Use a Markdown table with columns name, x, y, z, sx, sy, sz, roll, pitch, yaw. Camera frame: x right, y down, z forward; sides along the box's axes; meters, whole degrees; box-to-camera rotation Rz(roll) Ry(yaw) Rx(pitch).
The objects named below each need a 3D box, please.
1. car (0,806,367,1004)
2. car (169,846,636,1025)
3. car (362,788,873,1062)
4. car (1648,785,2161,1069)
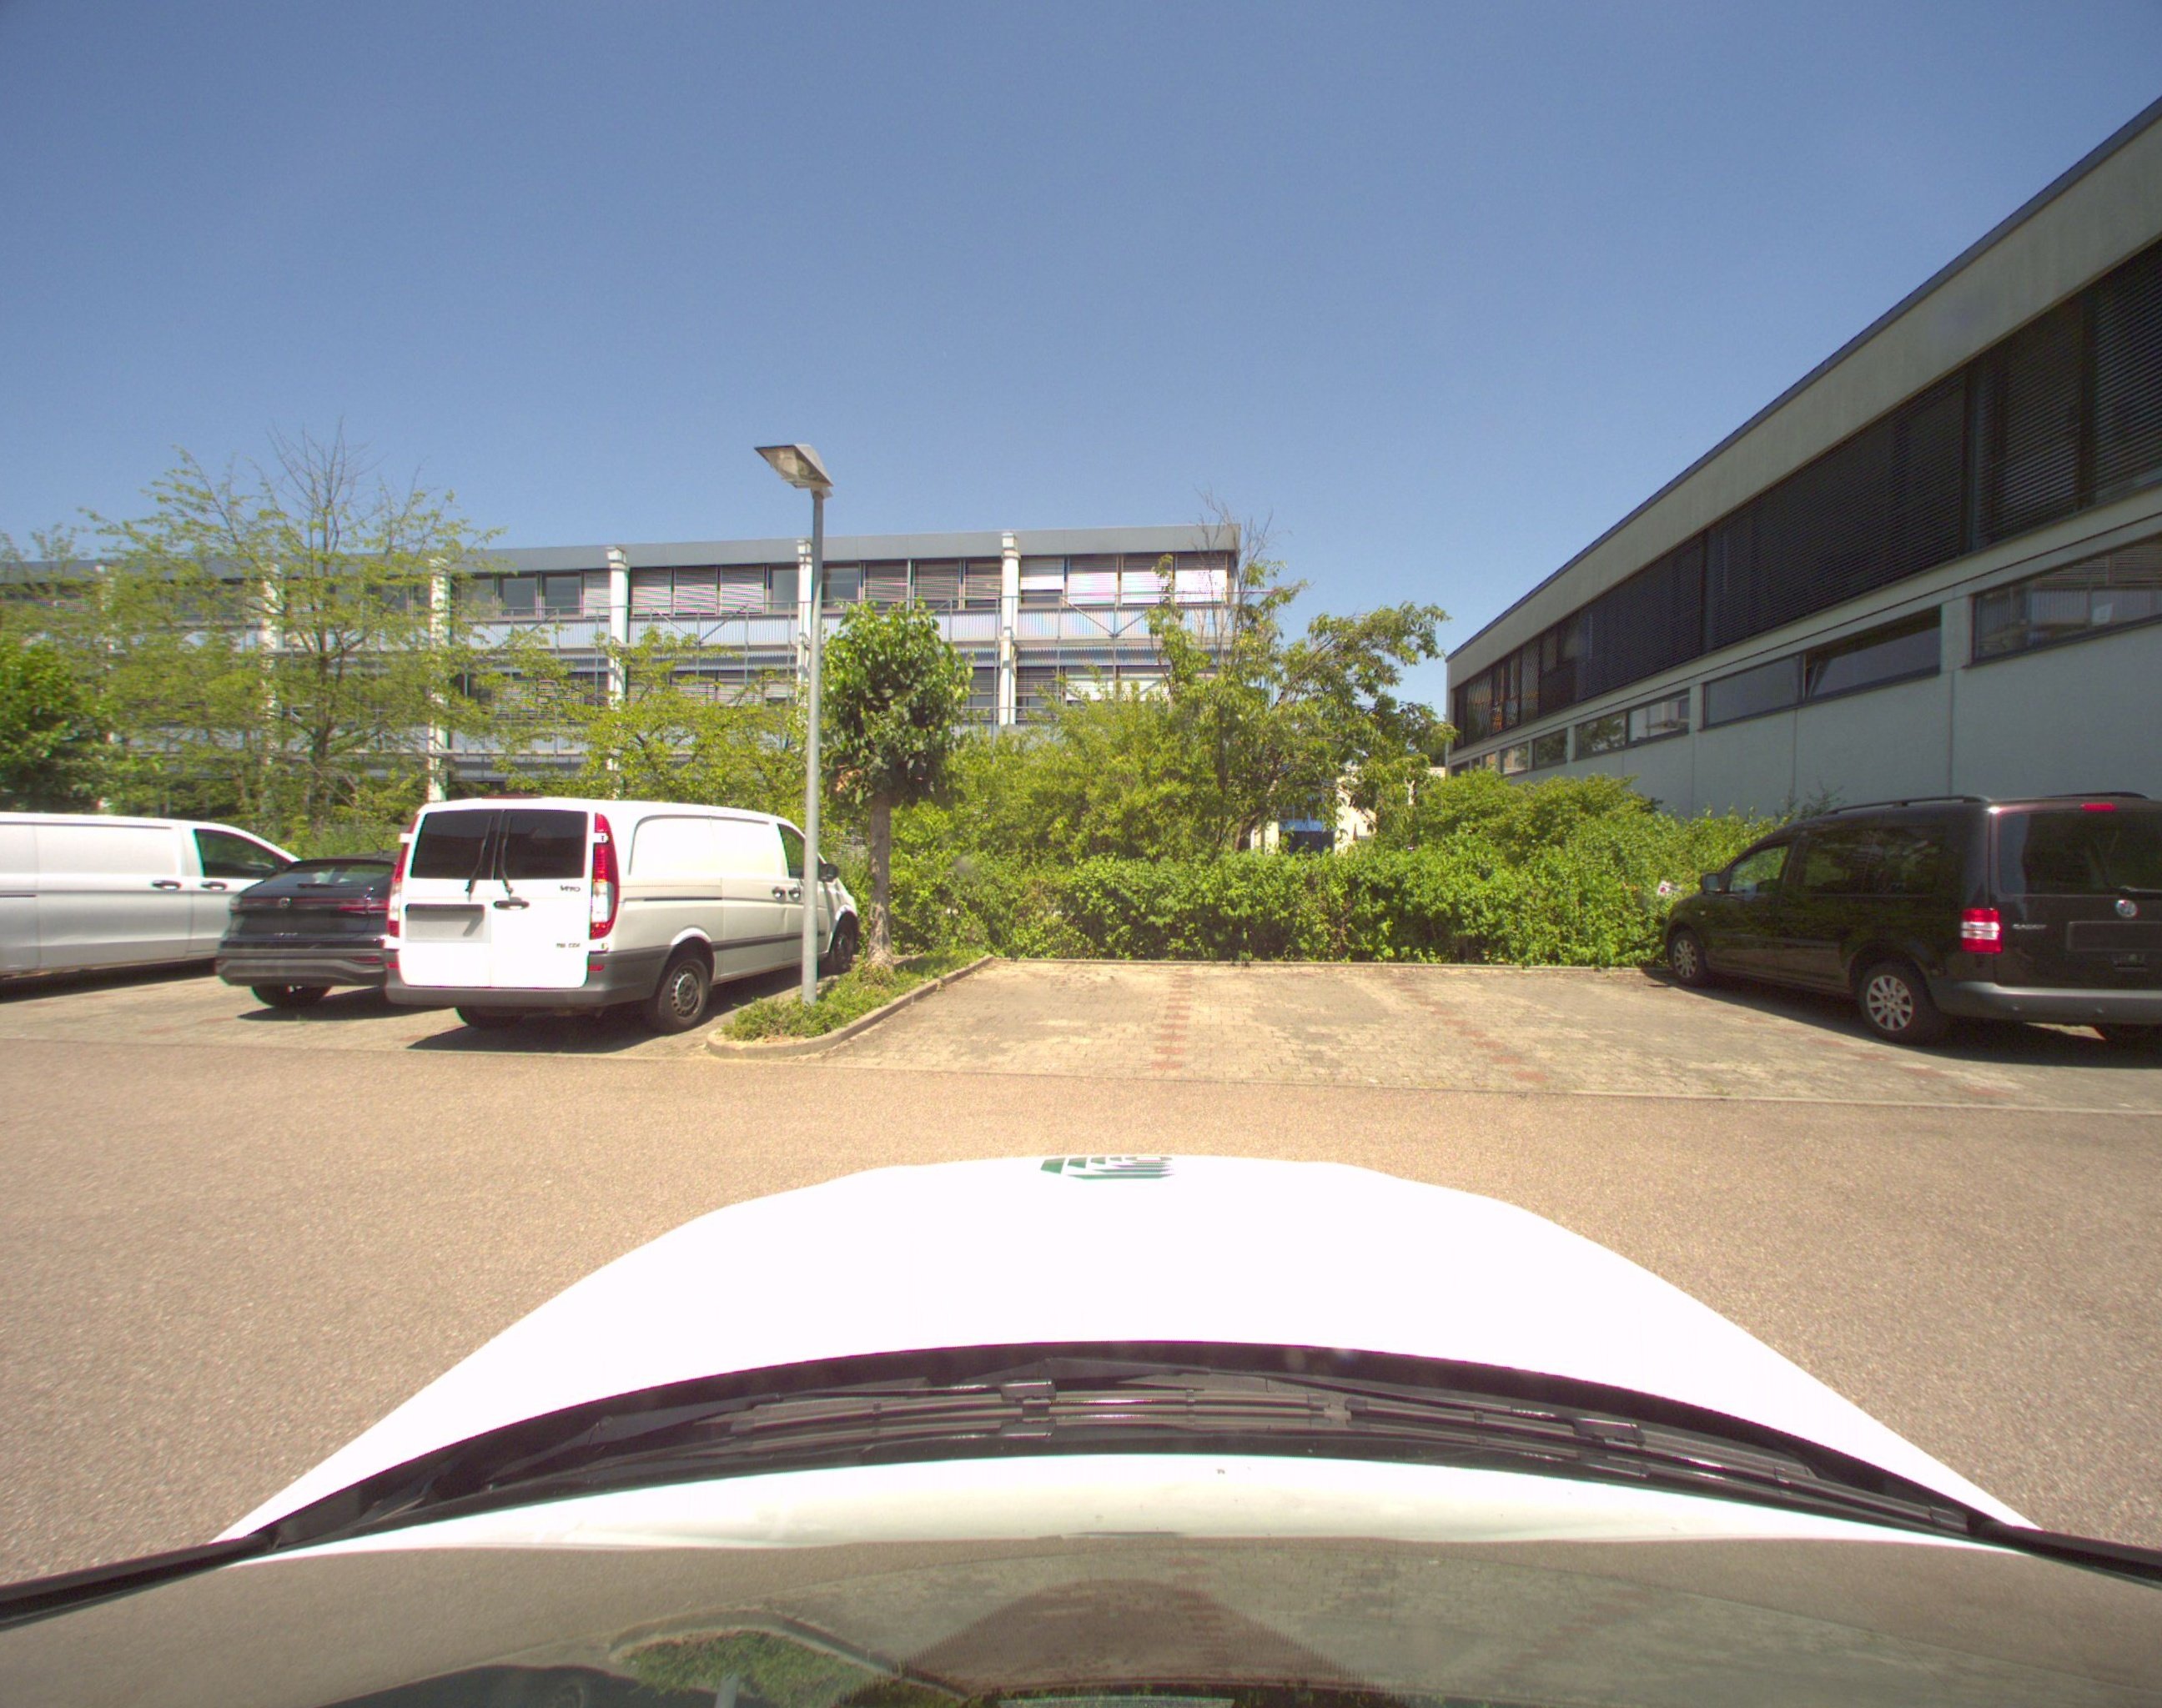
| name | x | y | z | sx | sy | sz | roll | pitch | yaw |
| --- | --- | --- | --- | --- | --- | --- | --- | --- | --- |
| car | -11.088 | 0.470 | 8.902 | 1.870 | 1.891 | 4.816 | 0 | 1 | 10 |
| car | -6.802 | 0.663 | 8.865 | 1.749 | 1.476 | 3.998 | 0 | 1 | -1 |
| car | -3.906 | 0.469 | 8.133 | 1.903 | 1.905 | 4.817 | 0 | 1 | 7 |
| car | 7.101 | 0.462 | 7.269 | 1.733 | 1.837 | 4.009 | 0 | 0 | 8 |
